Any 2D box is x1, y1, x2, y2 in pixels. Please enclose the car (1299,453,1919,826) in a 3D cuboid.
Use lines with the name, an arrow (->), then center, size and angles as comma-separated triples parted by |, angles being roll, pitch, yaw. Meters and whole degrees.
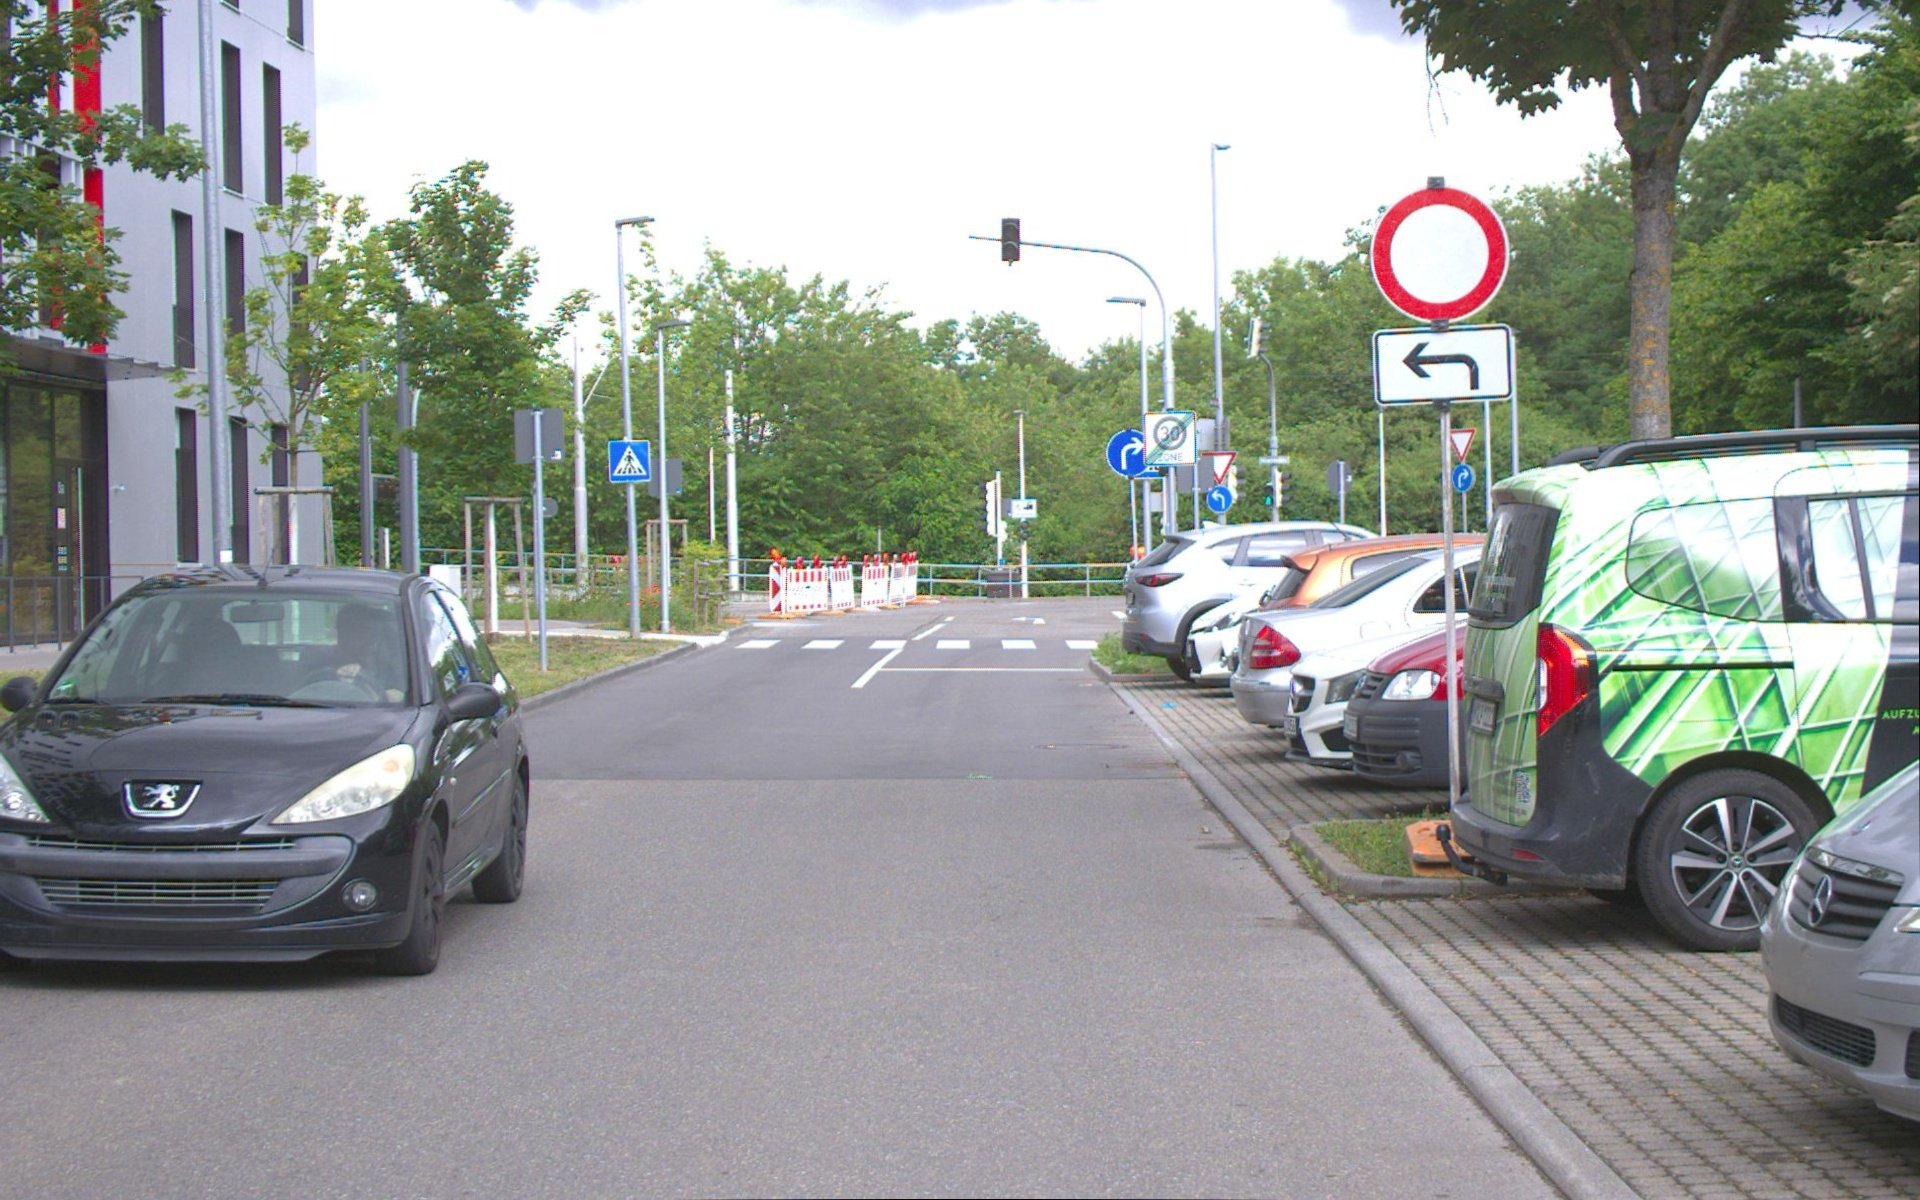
car -> 4.139, 0.180, 18.562 | 4.378, 1.897, 1.937 | 0, 1, -1

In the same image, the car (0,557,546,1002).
car -> -2.615, 0.555, 13.115 | 1.609, 1.383, 4.000 | 1, 1, 0

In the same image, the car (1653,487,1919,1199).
car -> 4.070, 0.452, 8.178 | 4.378, 1.571, 1.916 | -2, 2, -1

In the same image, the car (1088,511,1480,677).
car -> 3.756, -0.092, 40.404 | 4.378, 1.897, 1.916 | 0, 1, -1

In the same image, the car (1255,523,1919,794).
car -> 4.089, 0.330, 20.965 | 4.378, 1.568, 1.916 | 0, 1, -1

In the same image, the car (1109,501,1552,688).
car -> 3.817, -0.080, 35.979 | 4.378, 1.897, 1.916 | 0, 1, -1

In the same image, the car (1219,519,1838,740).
car -> 4.268, 0.198, 26.313 | 4.378, 1.612, 1.916 | 0, 1, -1

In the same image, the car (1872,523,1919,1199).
car -> 4.177, 0.531, 5.599 | 4.724, 1.493, 2.112 | -2, 2, -4

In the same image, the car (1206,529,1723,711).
car -> 4.510, 0.157, 31.209 | 4.378, 1.577, 1.916 | 0, 1, -1

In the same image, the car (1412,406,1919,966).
car -> 4.072, 0.215, 12.979 | 4.378, 1.897, 1.916 | -2, 1, -1

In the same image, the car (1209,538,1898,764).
car -> 3.997, 0.321, 23.692 | 4.378, 1.470, 1.916 | 0, 1, -1

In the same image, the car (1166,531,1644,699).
car -> 4.288, 0.123, 33.624 | 4.378, 1.577, 1.916 | 0, 1, -1
